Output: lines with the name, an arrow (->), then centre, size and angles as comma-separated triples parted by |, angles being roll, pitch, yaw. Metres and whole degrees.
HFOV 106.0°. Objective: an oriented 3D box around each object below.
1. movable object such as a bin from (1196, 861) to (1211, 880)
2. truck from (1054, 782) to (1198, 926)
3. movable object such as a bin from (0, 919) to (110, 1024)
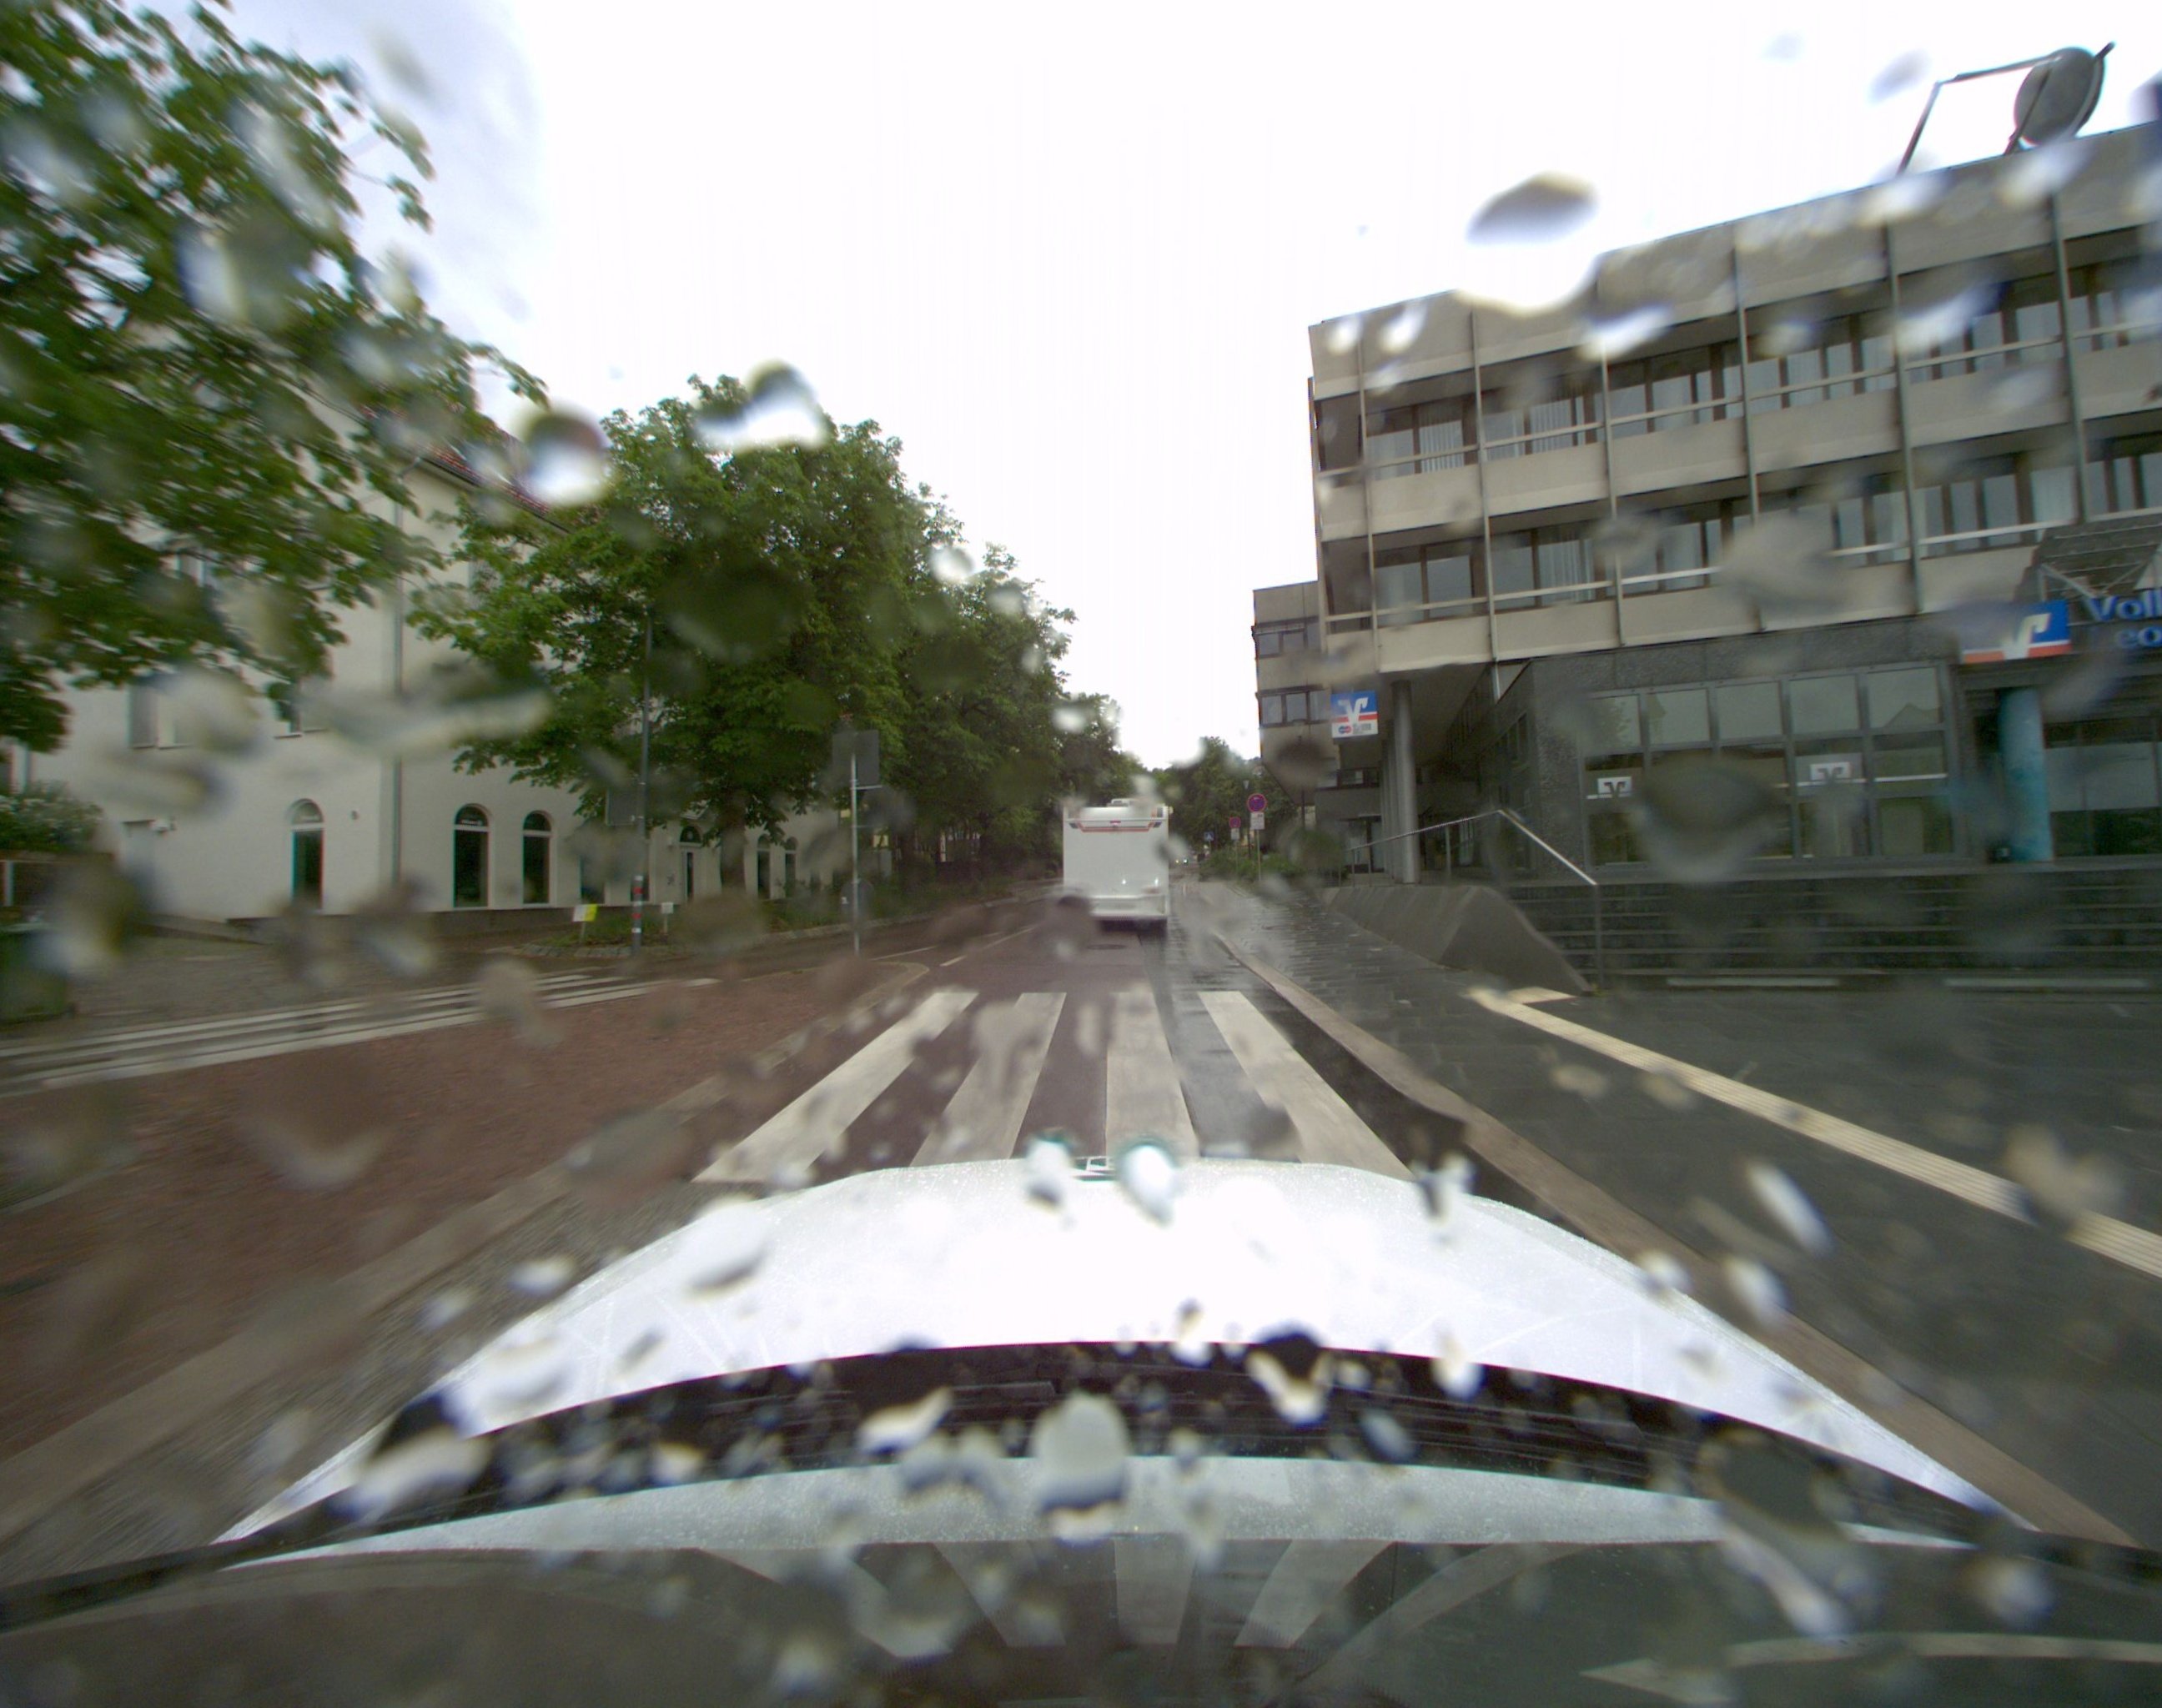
movable object such as a bin -> 7.329, 0.979, 48.710 | 0.697, 1.124, 0.575 | -4, -2, 25
truck -> 1.071, 0.097, 19.720 | 2.794, 2.797, 6.110 | -3, -2, 3
movable object such as a bin -> -11.392, 1.281, 9.019 | 0.628, 1.059, 0.702 | -4, -2, 28
